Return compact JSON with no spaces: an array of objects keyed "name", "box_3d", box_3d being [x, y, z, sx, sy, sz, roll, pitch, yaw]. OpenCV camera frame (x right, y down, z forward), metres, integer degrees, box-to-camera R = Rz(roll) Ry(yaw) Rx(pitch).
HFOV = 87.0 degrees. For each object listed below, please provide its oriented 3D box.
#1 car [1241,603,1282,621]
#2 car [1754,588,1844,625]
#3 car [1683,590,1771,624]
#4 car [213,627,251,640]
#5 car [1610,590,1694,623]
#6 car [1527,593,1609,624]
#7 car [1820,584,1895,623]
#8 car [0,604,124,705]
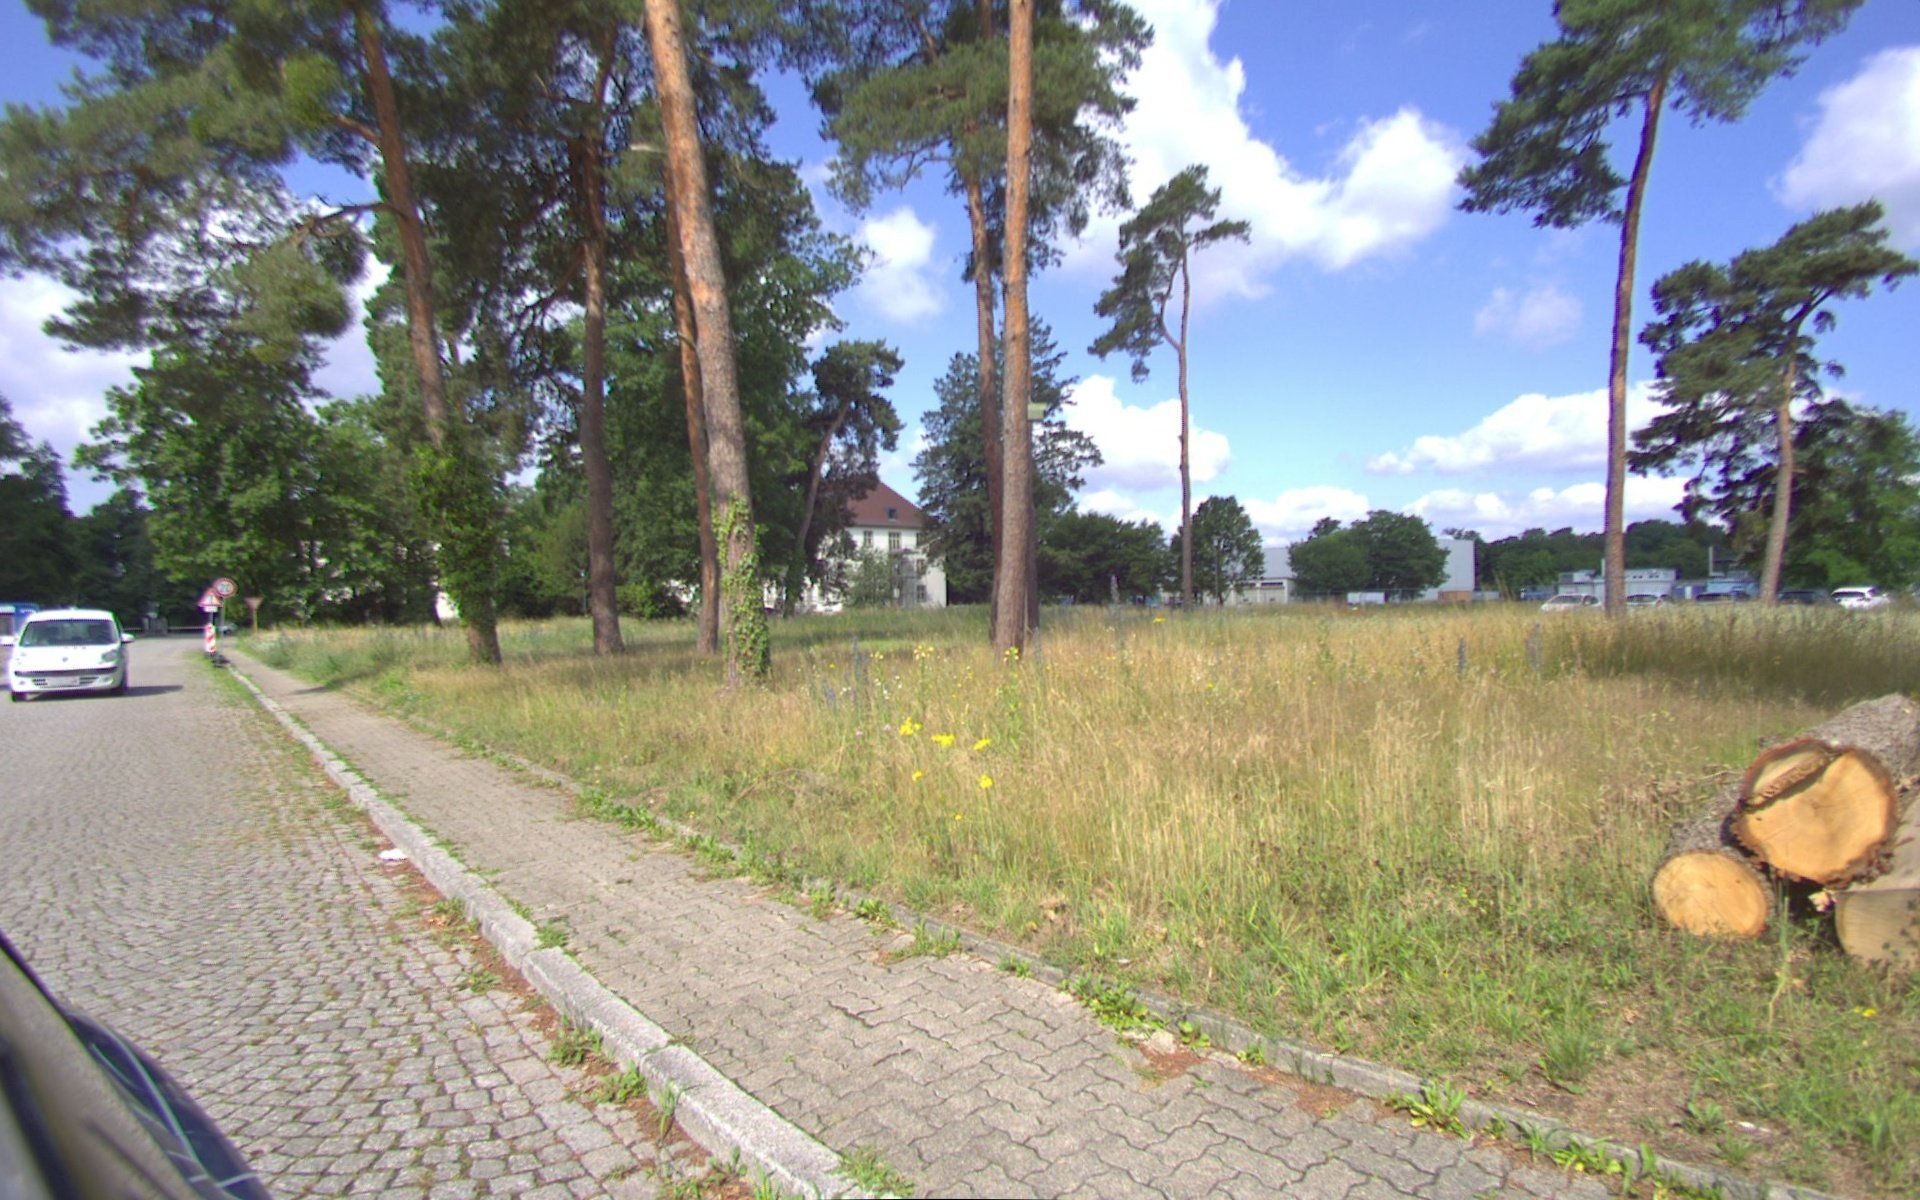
[{"name":"car","box_3d":[29.085,1.125,97.620,4.014,1.715,1.904,0,-1,-39]},{"name":"car","box_3d":[32.193,0.253,38.816,4.014,1.319,1.904,0,-1,-39]},{"name":"car","box_3d":[31.091,0.284,40.990,4.014,1.330,1.904,0,-1,-39]},{"name":"car","box_3d":[-94.690,4.374,131.628,4.021,1.656,1.770,0,-1,-39]},{"name":"car","box_3d":[29.794,0.295,43.566,4.014,1.349,1.904,0,-1,-39]},{"name":"car","box_3d":[27.480,0.384,45.726,4.006,1.359,1.904,0,-1,-39]},{"name":"car","box_3d":[40.823,0.161,45.999,4.014,1.715,1.904,0,-1,-39]},{"name":"car","box_3d":[-18.887,1.092,21.323,1.811,1.883,4.840,-1,-1,-38]}]
